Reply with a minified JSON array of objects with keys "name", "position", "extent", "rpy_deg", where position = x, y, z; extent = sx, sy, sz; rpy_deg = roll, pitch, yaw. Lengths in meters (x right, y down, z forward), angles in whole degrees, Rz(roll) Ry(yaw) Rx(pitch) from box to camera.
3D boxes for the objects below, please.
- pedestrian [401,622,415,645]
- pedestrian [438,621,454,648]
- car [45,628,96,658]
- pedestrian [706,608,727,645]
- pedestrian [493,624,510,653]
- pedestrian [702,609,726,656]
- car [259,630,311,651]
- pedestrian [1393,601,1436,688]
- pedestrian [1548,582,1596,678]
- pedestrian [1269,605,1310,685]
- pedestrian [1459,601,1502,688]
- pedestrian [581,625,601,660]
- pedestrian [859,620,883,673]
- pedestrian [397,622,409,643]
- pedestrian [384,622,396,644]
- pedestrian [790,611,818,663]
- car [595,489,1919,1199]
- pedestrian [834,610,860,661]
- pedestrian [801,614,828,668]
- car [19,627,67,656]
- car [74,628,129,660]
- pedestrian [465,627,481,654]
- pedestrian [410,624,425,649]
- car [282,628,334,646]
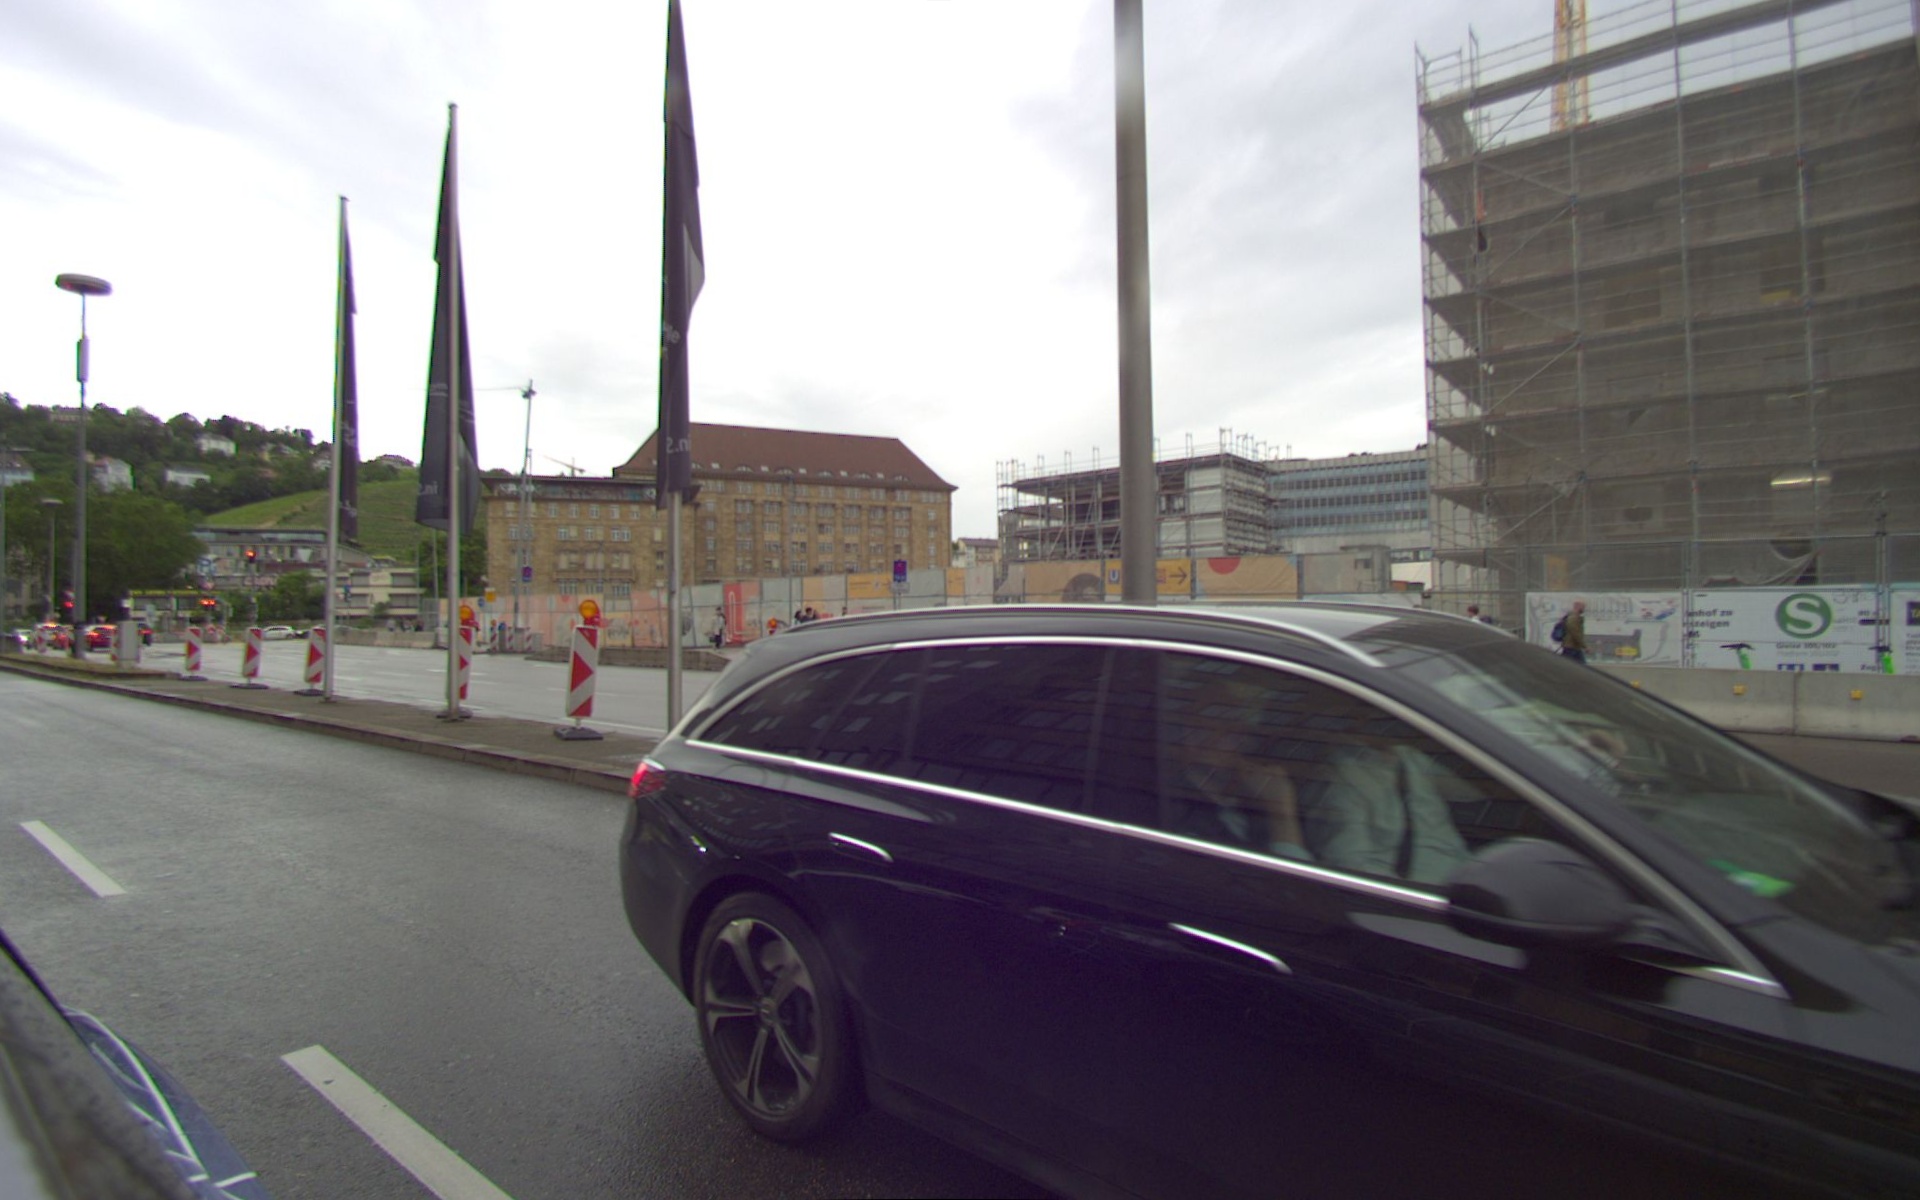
[{"name":"pedestrian","position":[-39.626,2.411,72.620],"extent":[0.544,1.628,0.706],"rpy_deg":[-1,0,41]},{"name":"pedestrian","position":[-32.158,2.138,63.281],"extent":[0.544,1.628,0.706],"rpy_deg":[-1,0,41]},{"name":"car","position":[-54.011,2.580,61.433],"extent":[3.913,1.707,1.763],"rpy_deg":[-1,0,40]},{"name":"pedestrian","position":[-10.851,1.168,45.148],"extent":[0.544,1.628,0.706],"rpy_deg":[-1,0,41]},{"name":"pedestrian","position":[-26.832,2.242,59.234],"extent":[0.544,1.628,0.706],"rpy_deg":[-1,0,41]},{"name":"pedestrian","position":[-9.963,1.312,40.960],"extent":[0.720,1.850,0.656],"rpy_deg":[-1,0,41]},{"name":"car","position":[-68.818,4.118,103.215],"extent":[4.136,1.871,1.833],"rpy_deg":[-1,0,-44]},{"name":"pedestrian","position":[9.832,0.949,21.911],"extent":[0.717,1.850,0.475],"rpy_deg":[-1,0,41]},{"name":"pedestrian","position":[12.065,0.574,19.957],"extent":[0.717,1.850,0.475],"rpy_deg":[-1,0,41]},{"name":"pedestrian","position":[7.788,1.056,23.922],"extent":[0.717,1.850,0.579],"rpy_deg":[-1,0,41]},{"name":"pedestrian","position":[11.315,0.949,22.013],"extent":[0.717,1.850,0.475],"rpy_deg":[-1,0,41]},{"name":"pedestrian","position":[-17.799,2.033,48.801],"extent":[0.544,1.628,0.706],"rpy_deg":[-1,0,41]},{"name":"pedestrian","position":[-3.165,1.632,35.867],"extent":[0.651,1.850,0.557],"rpy_deg":[-1,0,-29]},{"name":"pedestrian","position":[-42.294,2.458,76.819],"extent":[0.705,1.628,0.545],"rpy_deg":[-1,0,-39]},{"name":"pedestrian","position":[-42.989,2.469,76.292],"extent":[0.705,1.628,0.545],"rpy_deg":[-1,0,-40]},{"name":"pedestrian","position":[-5.372,1.260,34.820],"extent":[0.704,1.746,0.719],"rpy_deg":[-1,0,-31]},{"name":"car","position":[1.138,0.607,2.477],"extent":[4.585,1.480,1.836],"rpy_deg":[-1,0,41]},{"name":"pedestrian","position":[-3.996,1.238,35.808],"extent":[0.704,1.757,0.565],"rpy_deg":[-1,0,-29]},{"name":"pedestrian","position":[-5.155,1.442,35.908],"extent":[0.704,1.850,0.719],"rpy_deg":[-1,0,-31]},{"name":"car","position":[-59.637,2.676,65.778],"extent":[3.913,1.707,1.763],"rpy_deg":[-1,0,40]},{"name":"car","position":[-48.464,2.468,57.128],"extent":[3.914,1.707,1.762],"rpy_deg":[-2,-2,41]},{"name":"pedestrian","position":[-29.747,2.477,61.778],"extent":[0.544,1.628,0.706],"rpy_deg":[-1,0,41]},{"name":"pedestrian","position":[-36.529,2.434,68.118],"extent":[0.544,1.628,0.706],"rpy_deg":[-1,0,41]},{"name":"car","position":[-60.295,3.393,93.539],"extent":[3.934,1.644,2.005],"rpy_deg":[0,-2,-36]}]
